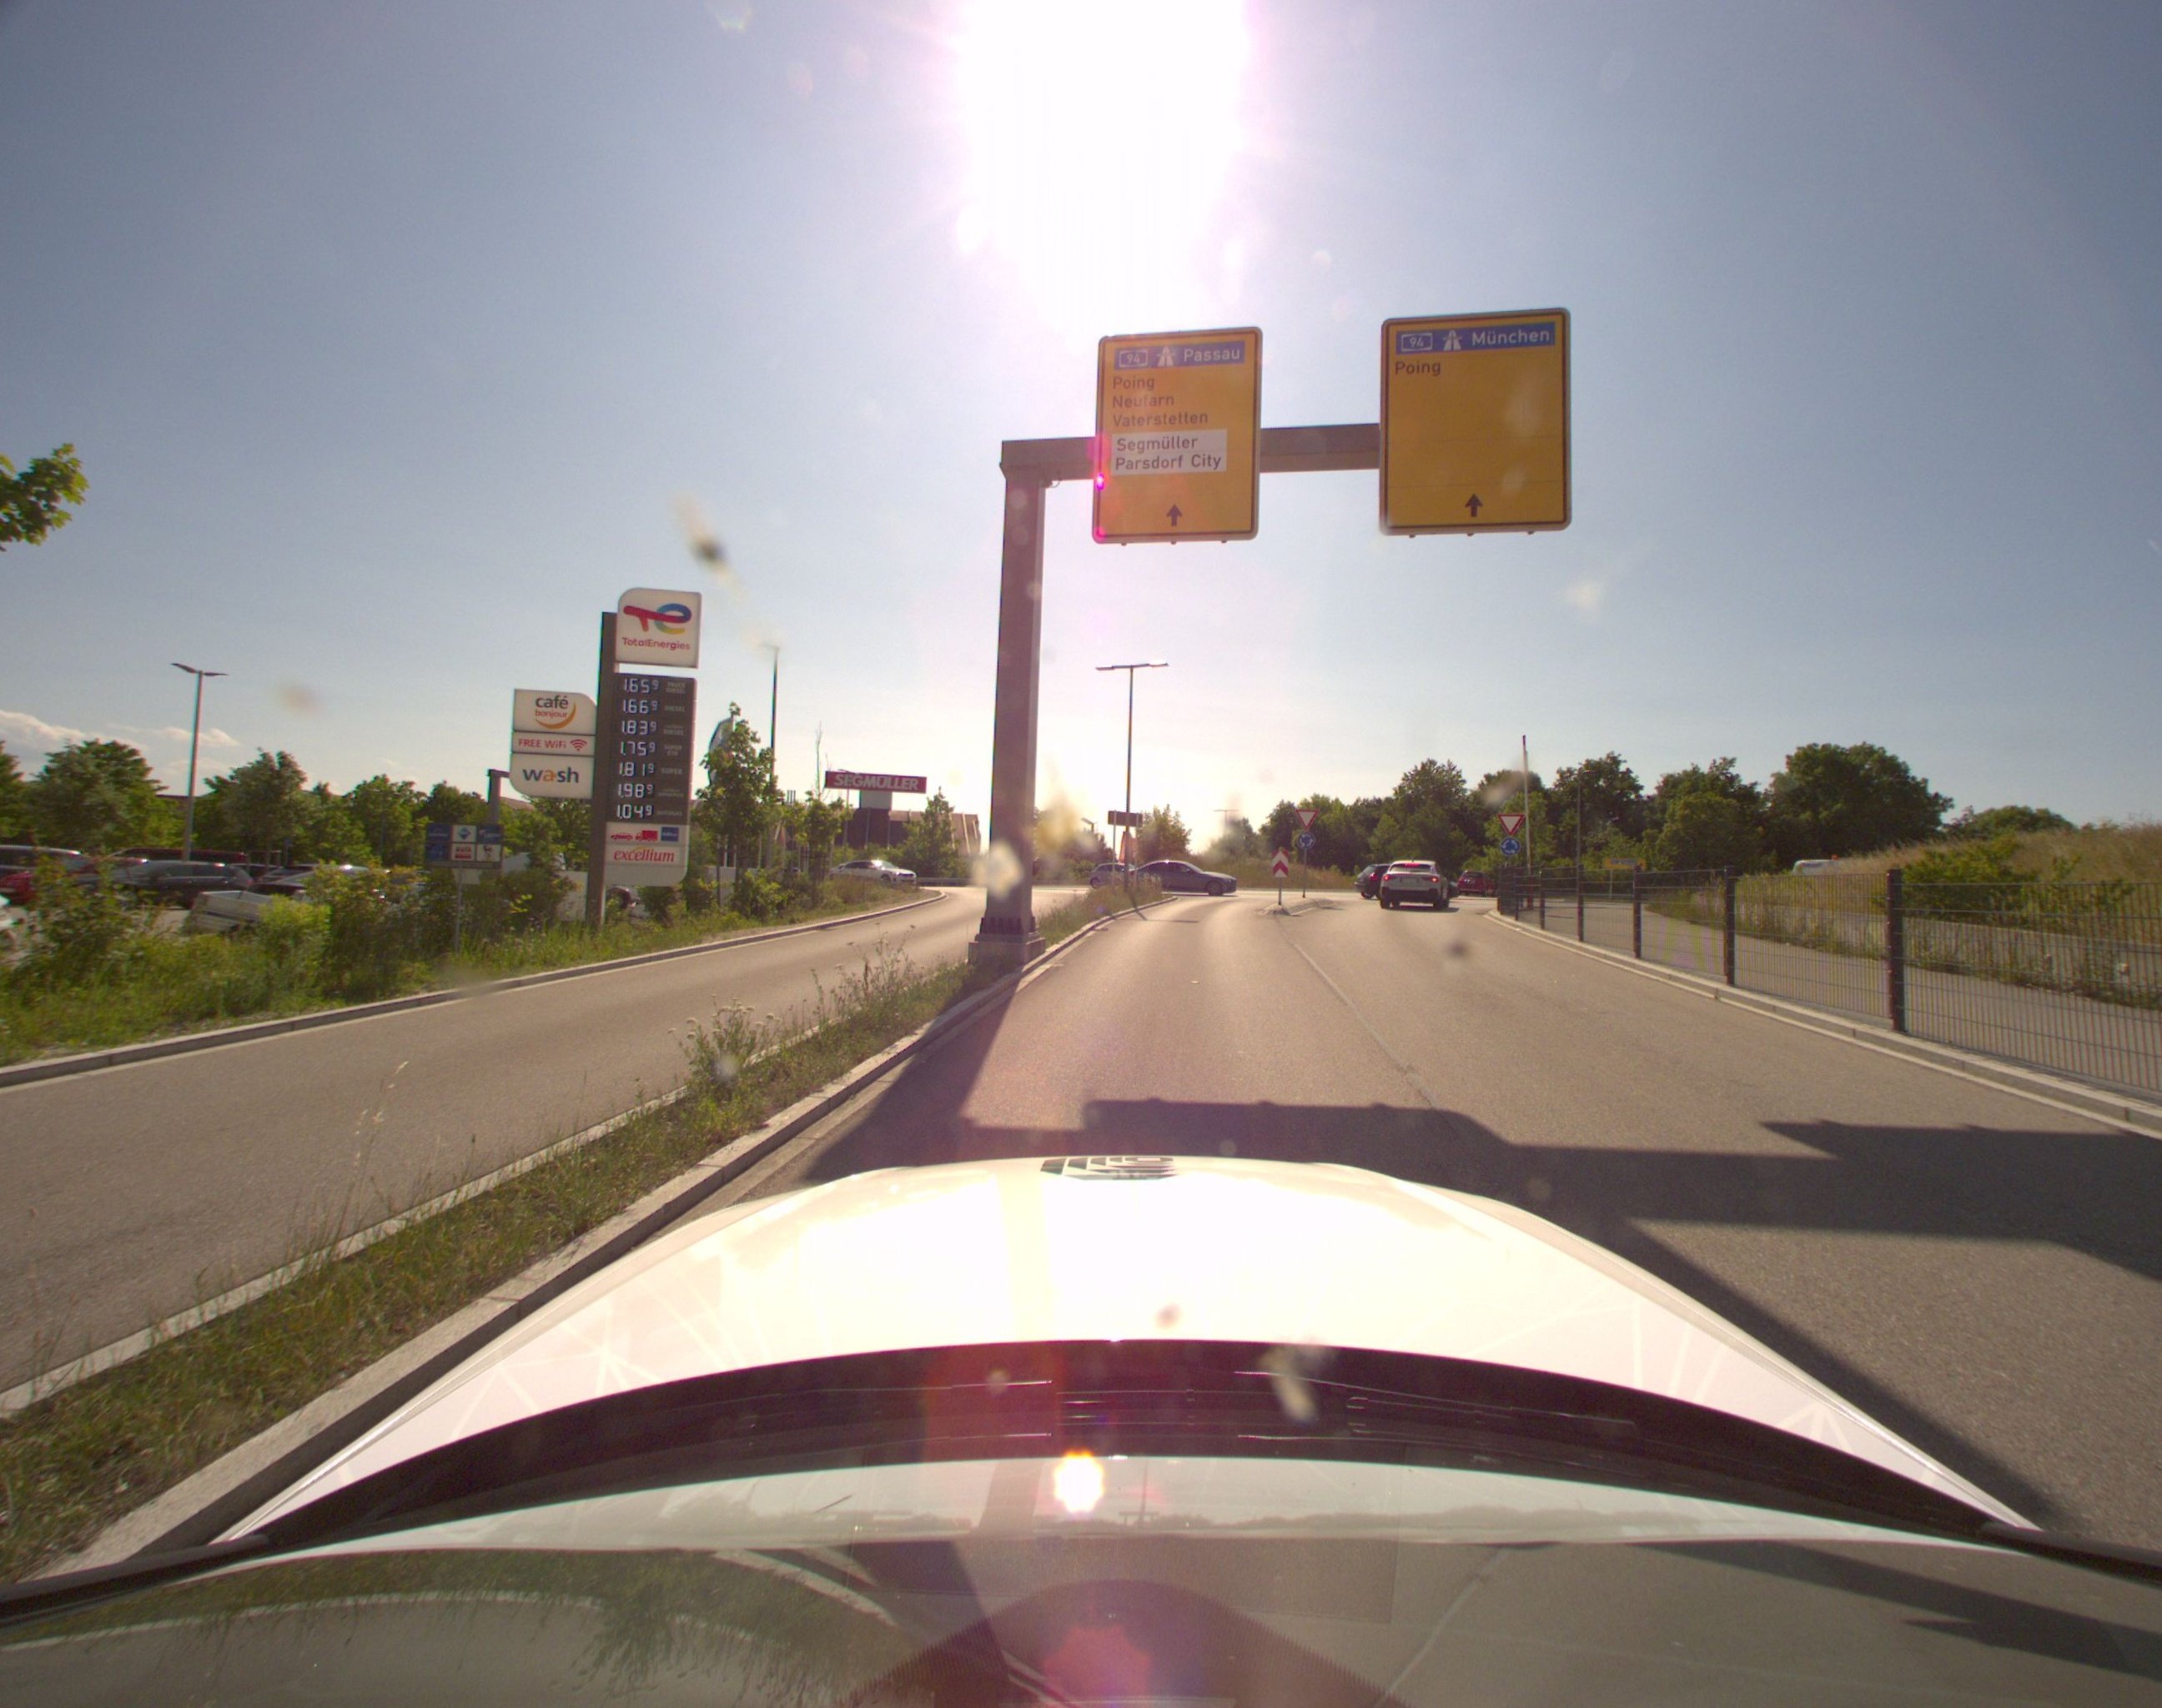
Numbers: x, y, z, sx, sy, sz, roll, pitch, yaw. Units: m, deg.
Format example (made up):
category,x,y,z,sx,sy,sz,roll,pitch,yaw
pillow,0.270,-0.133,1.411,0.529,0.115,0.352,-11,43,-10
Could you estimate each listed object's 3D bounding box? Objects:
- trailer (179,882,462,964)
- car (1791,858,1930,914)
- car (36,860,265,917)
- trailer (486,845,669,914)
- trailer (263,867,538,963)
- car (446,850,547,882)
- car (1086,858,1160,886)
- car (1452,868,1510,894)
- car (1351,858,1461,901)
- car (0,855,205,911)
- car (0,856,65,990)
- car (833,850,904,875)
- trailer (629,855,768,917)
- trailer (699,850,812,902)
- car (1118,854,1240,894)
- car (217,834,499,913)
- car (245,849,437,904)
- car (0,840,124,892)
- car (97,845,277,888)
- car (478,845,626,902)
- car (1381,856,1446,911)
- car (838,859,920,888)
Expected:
category,x,y,z,sx,sy,sz,roll,pitch,yaw
trailer,-11.272,1.016,12.283,2.777,1.086,1.311,2,-1,-22
car,38.398,1.571,40.145,6.183,2.554,2.079,2,-1,-15
car,-27.036,0.966,23.888,1.809,1.464,4.010,2,-1,9
trailer,-12.711,0.661,20.863,3.703,1.452,1.694,5,-2,-26
trailer,-11.479,1.019,13.968,3.183,1.484,1.542,2,-1,-13
car,-44.437,0.915,61.993,6.229,2.234,2.040,2,-1,2
car,2.268,0.953,44.169,3.721,1.352,1.541,1,-1,32
car,23.186,1.582,47.135,3.837,1.405,1.607,3,-1,-41
car,13.578,1.061,34.191,3.930,1.618,1.821,2,-1,5
car,-29.389,0.826,24.431,1.814,1.464,3.998,2,-1,-1
car,-14.397,0.737,8.719,4.001,1.536,1.707,2,-1,-21
car,-13.842,0.549,53.271,4.275,1.530,1.785,1,-1,-11
trailer,-11.823,0.999,25.327,3.703,1.772,1.792,2,-1,-26
trailer,-11.792,0.763,29.513,3.703,1.772,1.792,0,0,-26
car,4.215,0.839,34.820,4.820,1.452,2.009,2,-1,17
car,-15.754,0.410,18.148,1.787,1.483,4.508,2,0,9
car,-21.620,0.646,24.046,1.811,1.464,4.004,0,-1,4
car,-31.643,0.339,24.004,1.809,1.464,4.010,2,-1,9
car,-33.893,0.508,30.995,1.802,1.464,4.482,1,-1,40
car,-16.047,0.578,24.960,1.729,1.552,3.750,2,-1,7
car,10.954,0.932,26.701,1.825,1.596,4.348,1,-1,24
car,-10.662,0.993,42.922,4.286,1.352,1.582,2,-1,30
